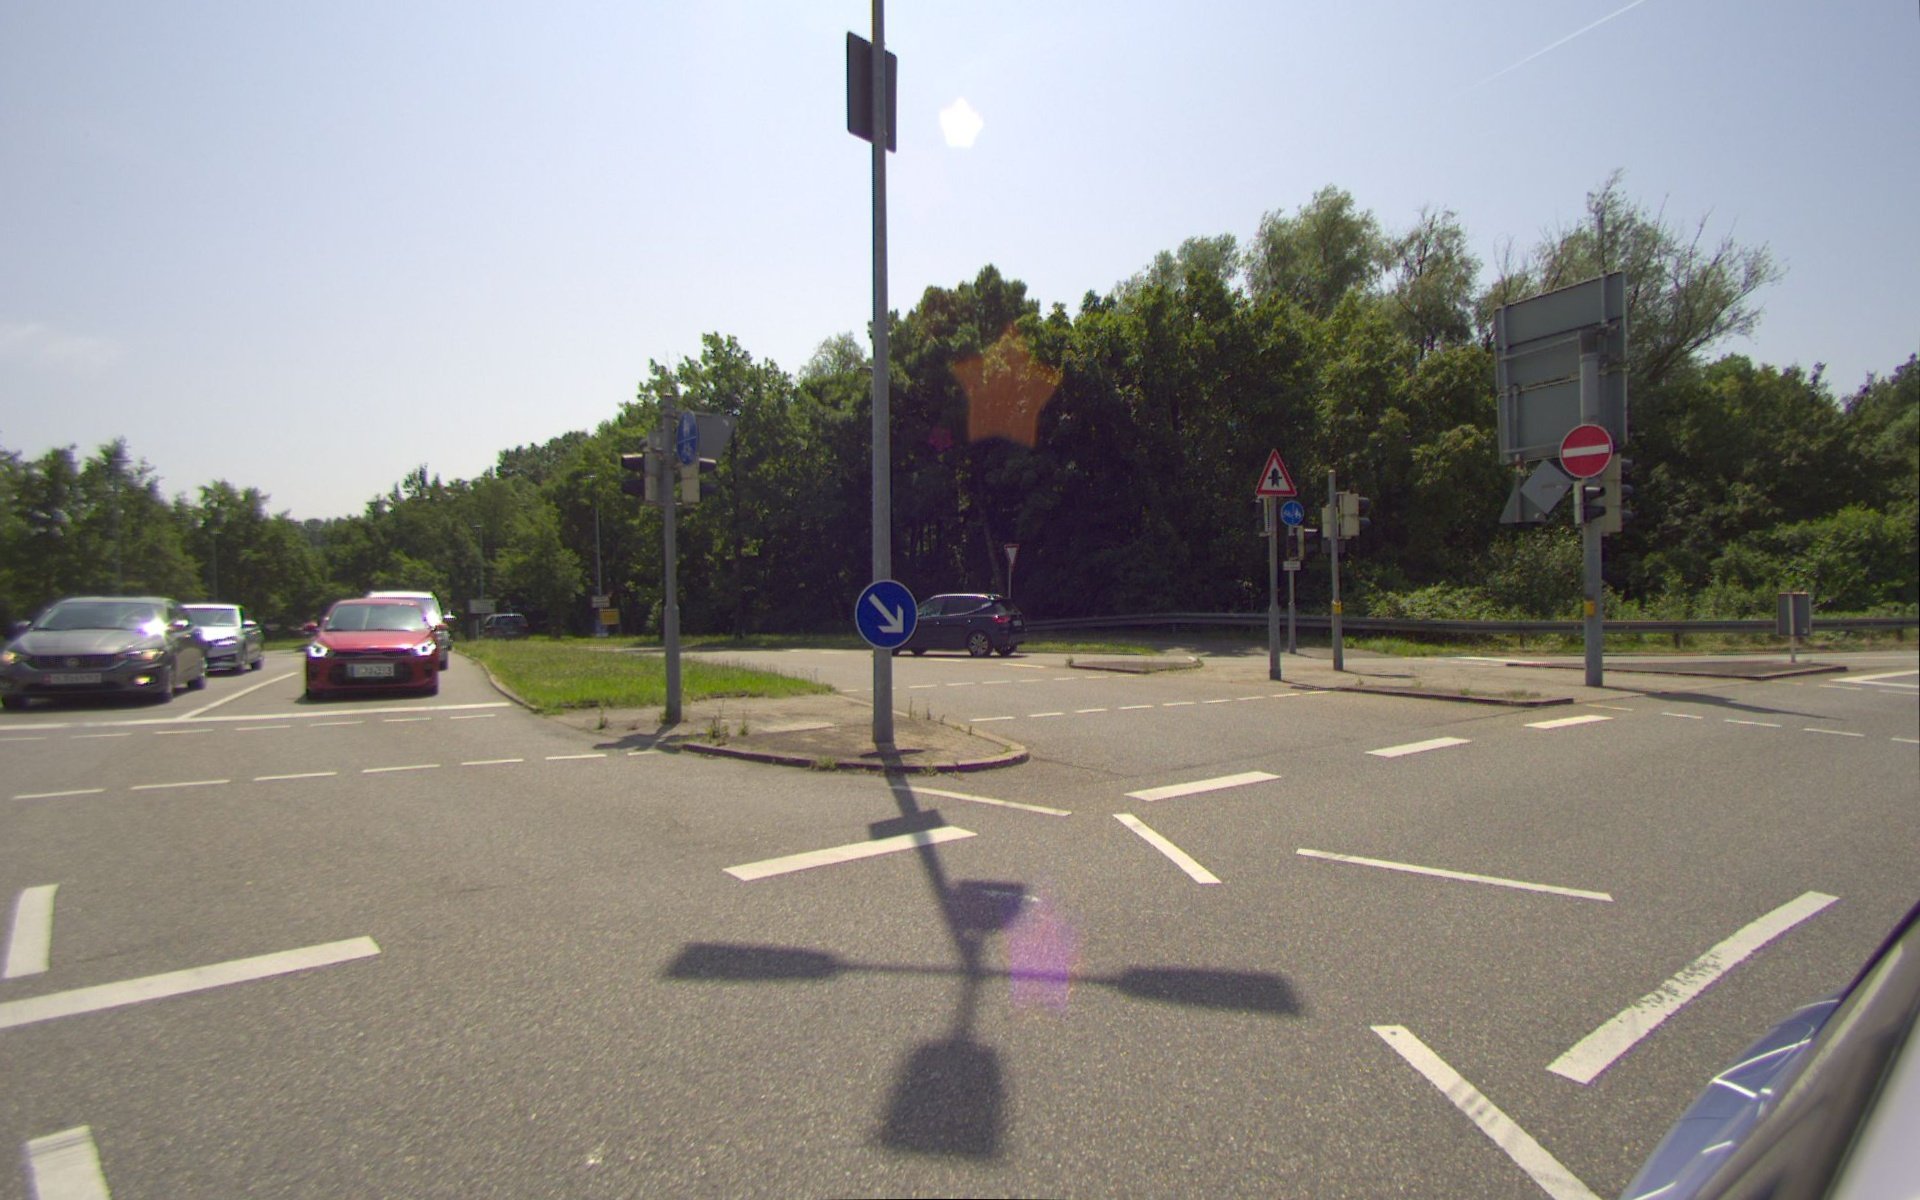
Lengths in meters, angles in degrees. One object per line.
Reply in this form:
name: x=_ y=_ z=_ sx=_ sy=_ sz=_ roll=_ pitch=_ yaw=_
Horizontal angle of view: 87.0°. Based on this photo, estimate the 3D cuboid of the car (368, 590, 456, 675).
car: x=-11.997 y=0.627 z=22.059 sx=1.551 sy=1.673 sz=3.611 roll=0 pitch=0 yaw=-30

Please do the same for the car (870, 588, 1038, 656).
car: x=-0.171 y=0.504 z=25.233 sx=3.960 sy=1.571 sz=1.534 roll=0 pitch=0 yaw=27

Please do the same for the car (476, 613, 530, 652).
car: x=-22.676 y=1.592 z=50.153 sx=1.663 sy=1.772 sz=3.691 roll=0 pitch=0 yaw=-37

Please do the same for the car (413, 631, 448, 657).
car: x=-35.289 y=2.907 z=67.417 sx=1.478 sy=1.515 sz=3.691 roll=0 pitch=0 yaw=-37

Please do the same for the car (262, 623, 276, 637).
car: x=-87.914 y=3.853 z=128.753 sx=1.473 sy=1.631 sz=3.567 roll=0 pitch=0 yaw=-35

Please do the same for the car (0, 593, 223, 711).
car: x=-12.171 y=0.624 z=14.576 sx=1.830 sy=1.442 sz=4.193 roll=0 pitch=0 yaw=-26

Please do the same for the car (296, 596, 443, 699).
car: x=-9.143 y=0.633 z=15.950 sx=1.719 sy=1.371 sz=4.193 roll=0 pitch=0 yaw=-26

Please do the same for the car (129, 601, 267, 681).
car: x=-15.545 y=0.760 z=20.833 sx=1.550 sy=1.448 sz=4.006 roll=0 pitch=0 yaw=-27
